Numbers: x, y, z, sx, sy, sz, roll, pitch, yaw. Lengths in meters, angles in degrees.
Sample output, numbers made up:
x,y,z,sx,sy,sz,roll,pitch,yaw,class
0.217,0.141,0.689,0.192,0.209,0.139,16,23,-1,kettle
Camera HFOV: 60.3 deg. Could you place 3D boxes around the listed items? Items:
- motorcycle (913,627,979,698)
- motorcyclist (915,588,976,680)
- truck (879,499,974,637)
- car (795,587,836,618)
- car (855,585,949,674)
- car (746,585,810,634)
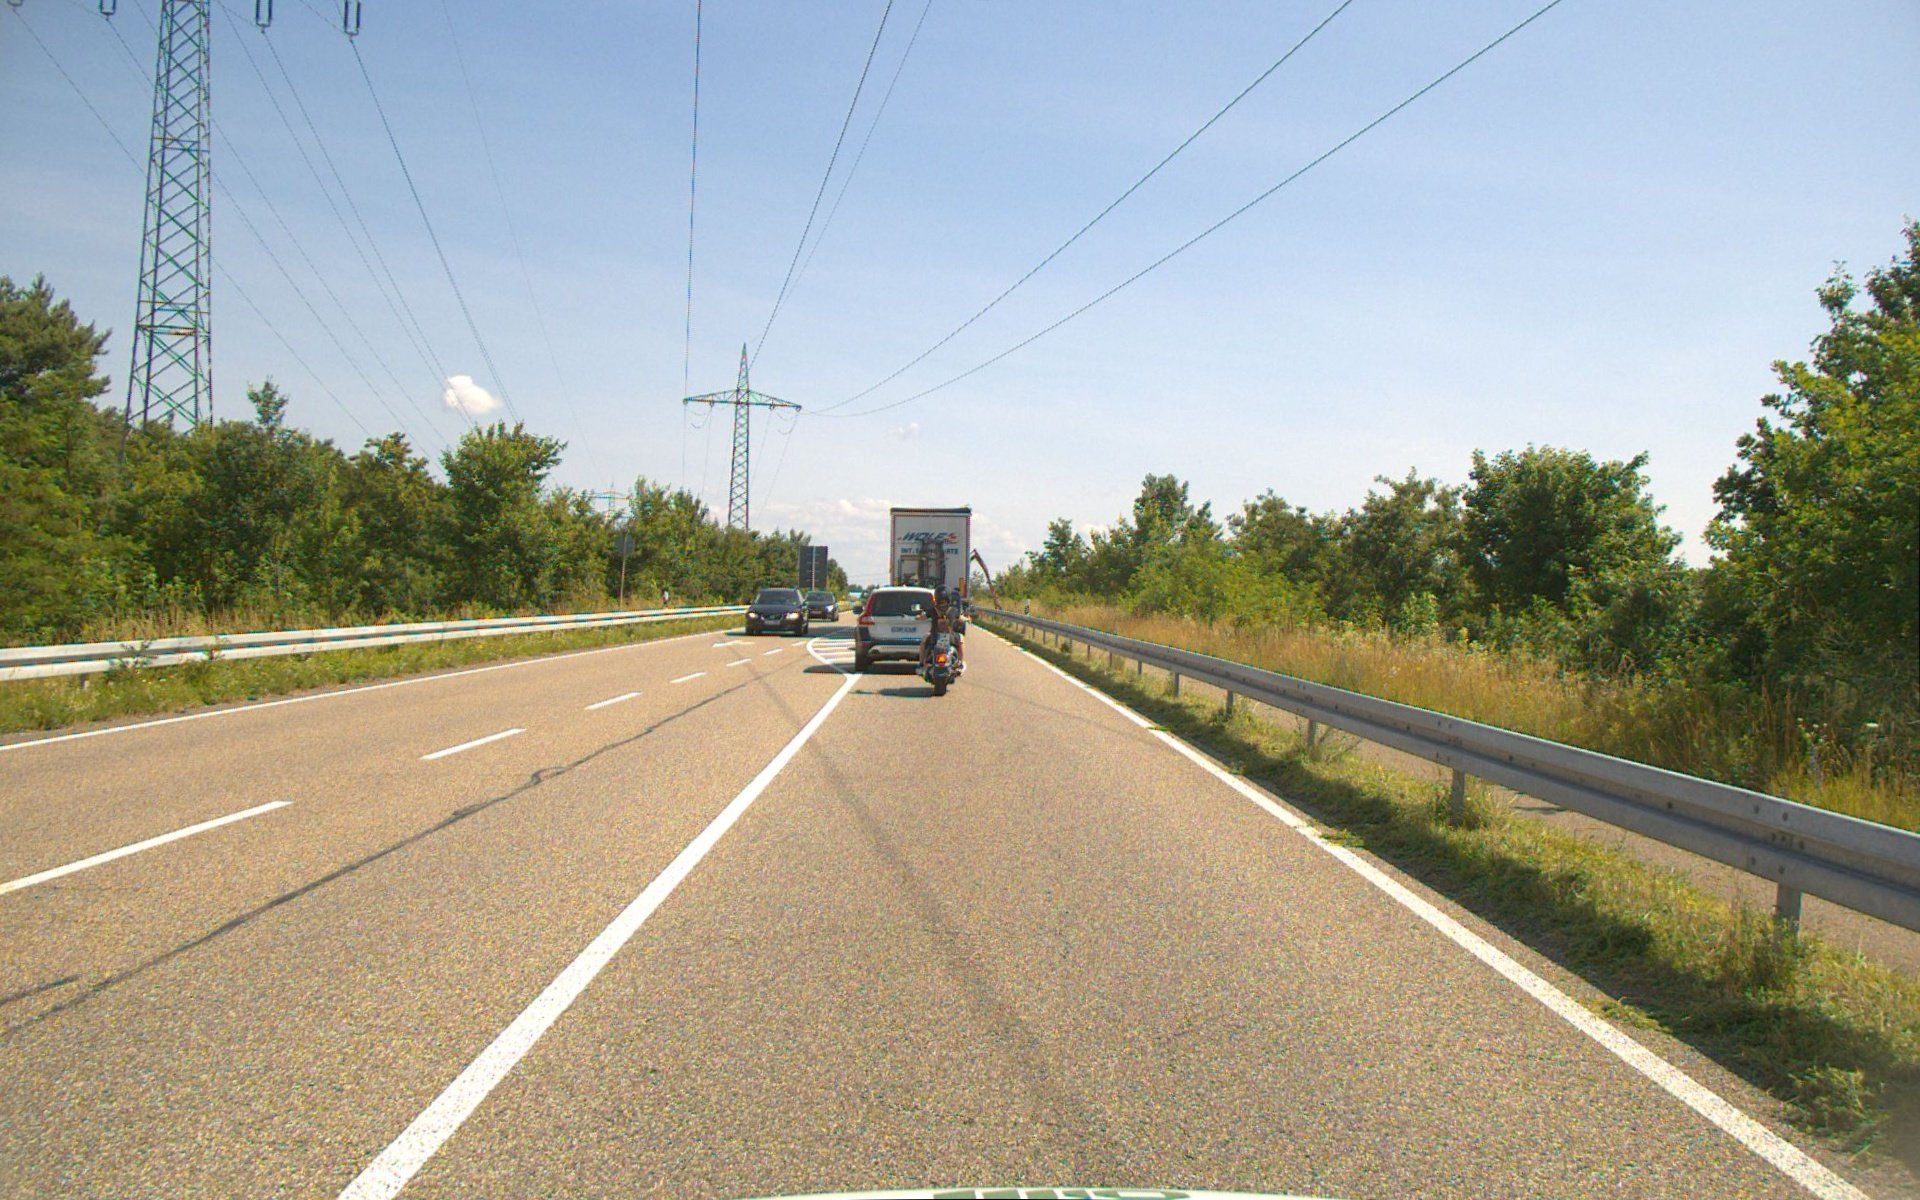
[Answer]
x,y,z,sx,sy,sz,roll,pitch,yaw,class
-0.222,0.881,23.932,0.842,0.931,2.226,1,0,-3,motorcycle
-0.219,0.485,24.012,0.820,1.303,0.919,1,0,-3,motorcyclist
-1.087,-1.039,59.196,2.907,4.260,14.820,1,0,0,truck
-6.936,0.102,79.731,1.626,1.467,4.214,1,0,-1,car
-1.067,0.522,31.282,1.666,1.563,3.498,1,0,-1,car
-5.915,0.291,54.120,1.692,1.517,4.421,1,0,-2,car
